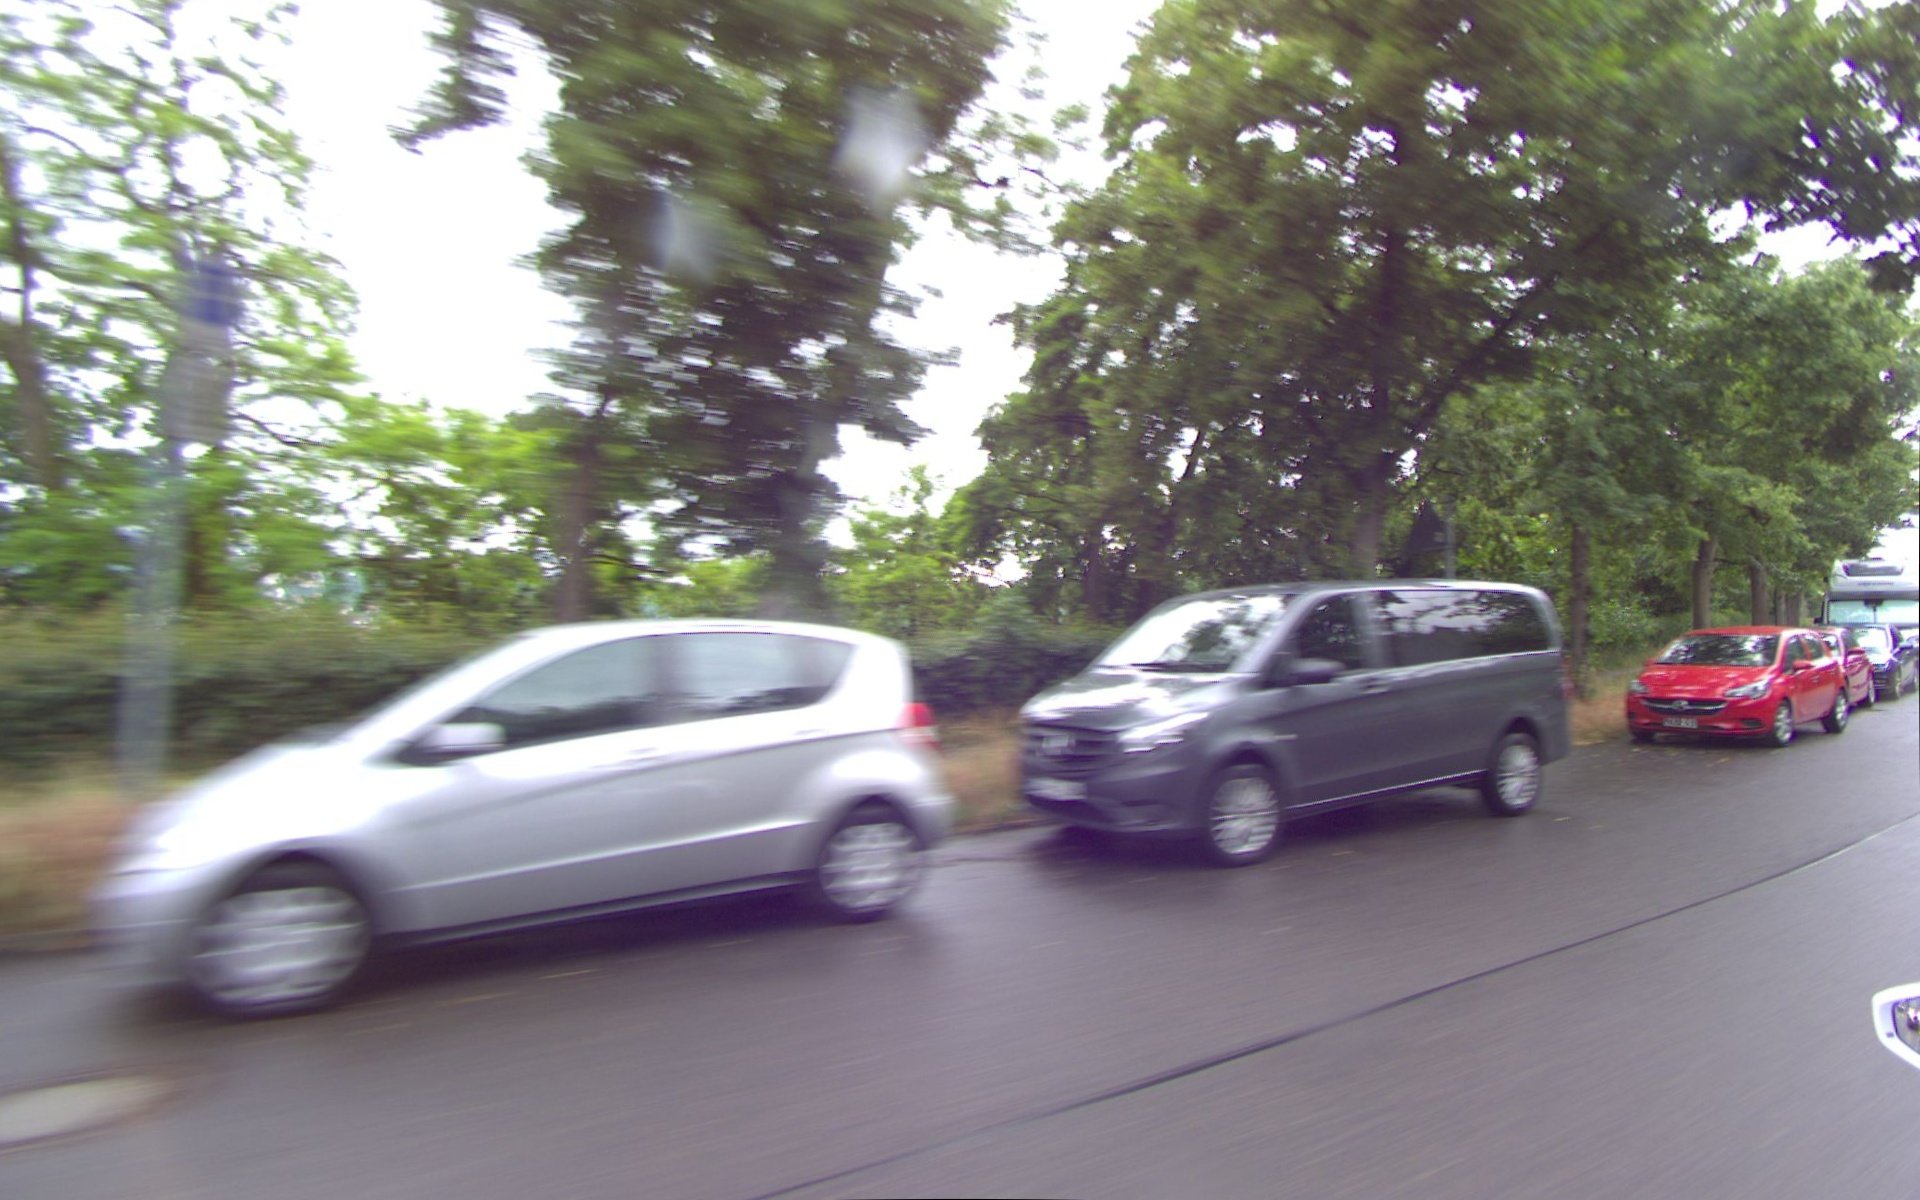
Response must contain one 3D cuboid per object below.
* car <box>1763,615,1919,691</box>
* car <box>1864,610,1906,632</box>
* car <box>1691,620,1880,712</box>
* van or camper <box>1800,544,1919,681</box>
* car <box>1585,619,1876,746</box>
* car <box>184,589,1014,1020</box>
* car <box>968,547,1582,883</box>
[{"bbox_3d":[18.591,1.064,21.055,4.173,1.426,1.938,0,-3,-40],"label":"car"},{"bbox_3d":[61.515,1.420,66.835,1.861,1.421,4.235,0,-1,40],"label":"car"},{"bbox_3d":[14.596,1.103,17.727,3.515,1.426,1.938,0,-3,-40],"label":"car"},{"bbox_3d":[23.072,0.363,25.529,2.477,3.066,6.528,-2,-2,41],"label":"van or camper"},{"bbox_3d":[10.918,1.062,14.151,4.528,1.480,1.942,0,-3,-35],"label":"car"},{"bbox_3d":[-1.709,0.849,5.424,3.726,1.572,1.675,2,-5,-33],"label":"car"},{"bbox_3d":[2.683,0.736,8.125,4.946,1.993,1.944,0,-3,-32],"label":"car"}]
